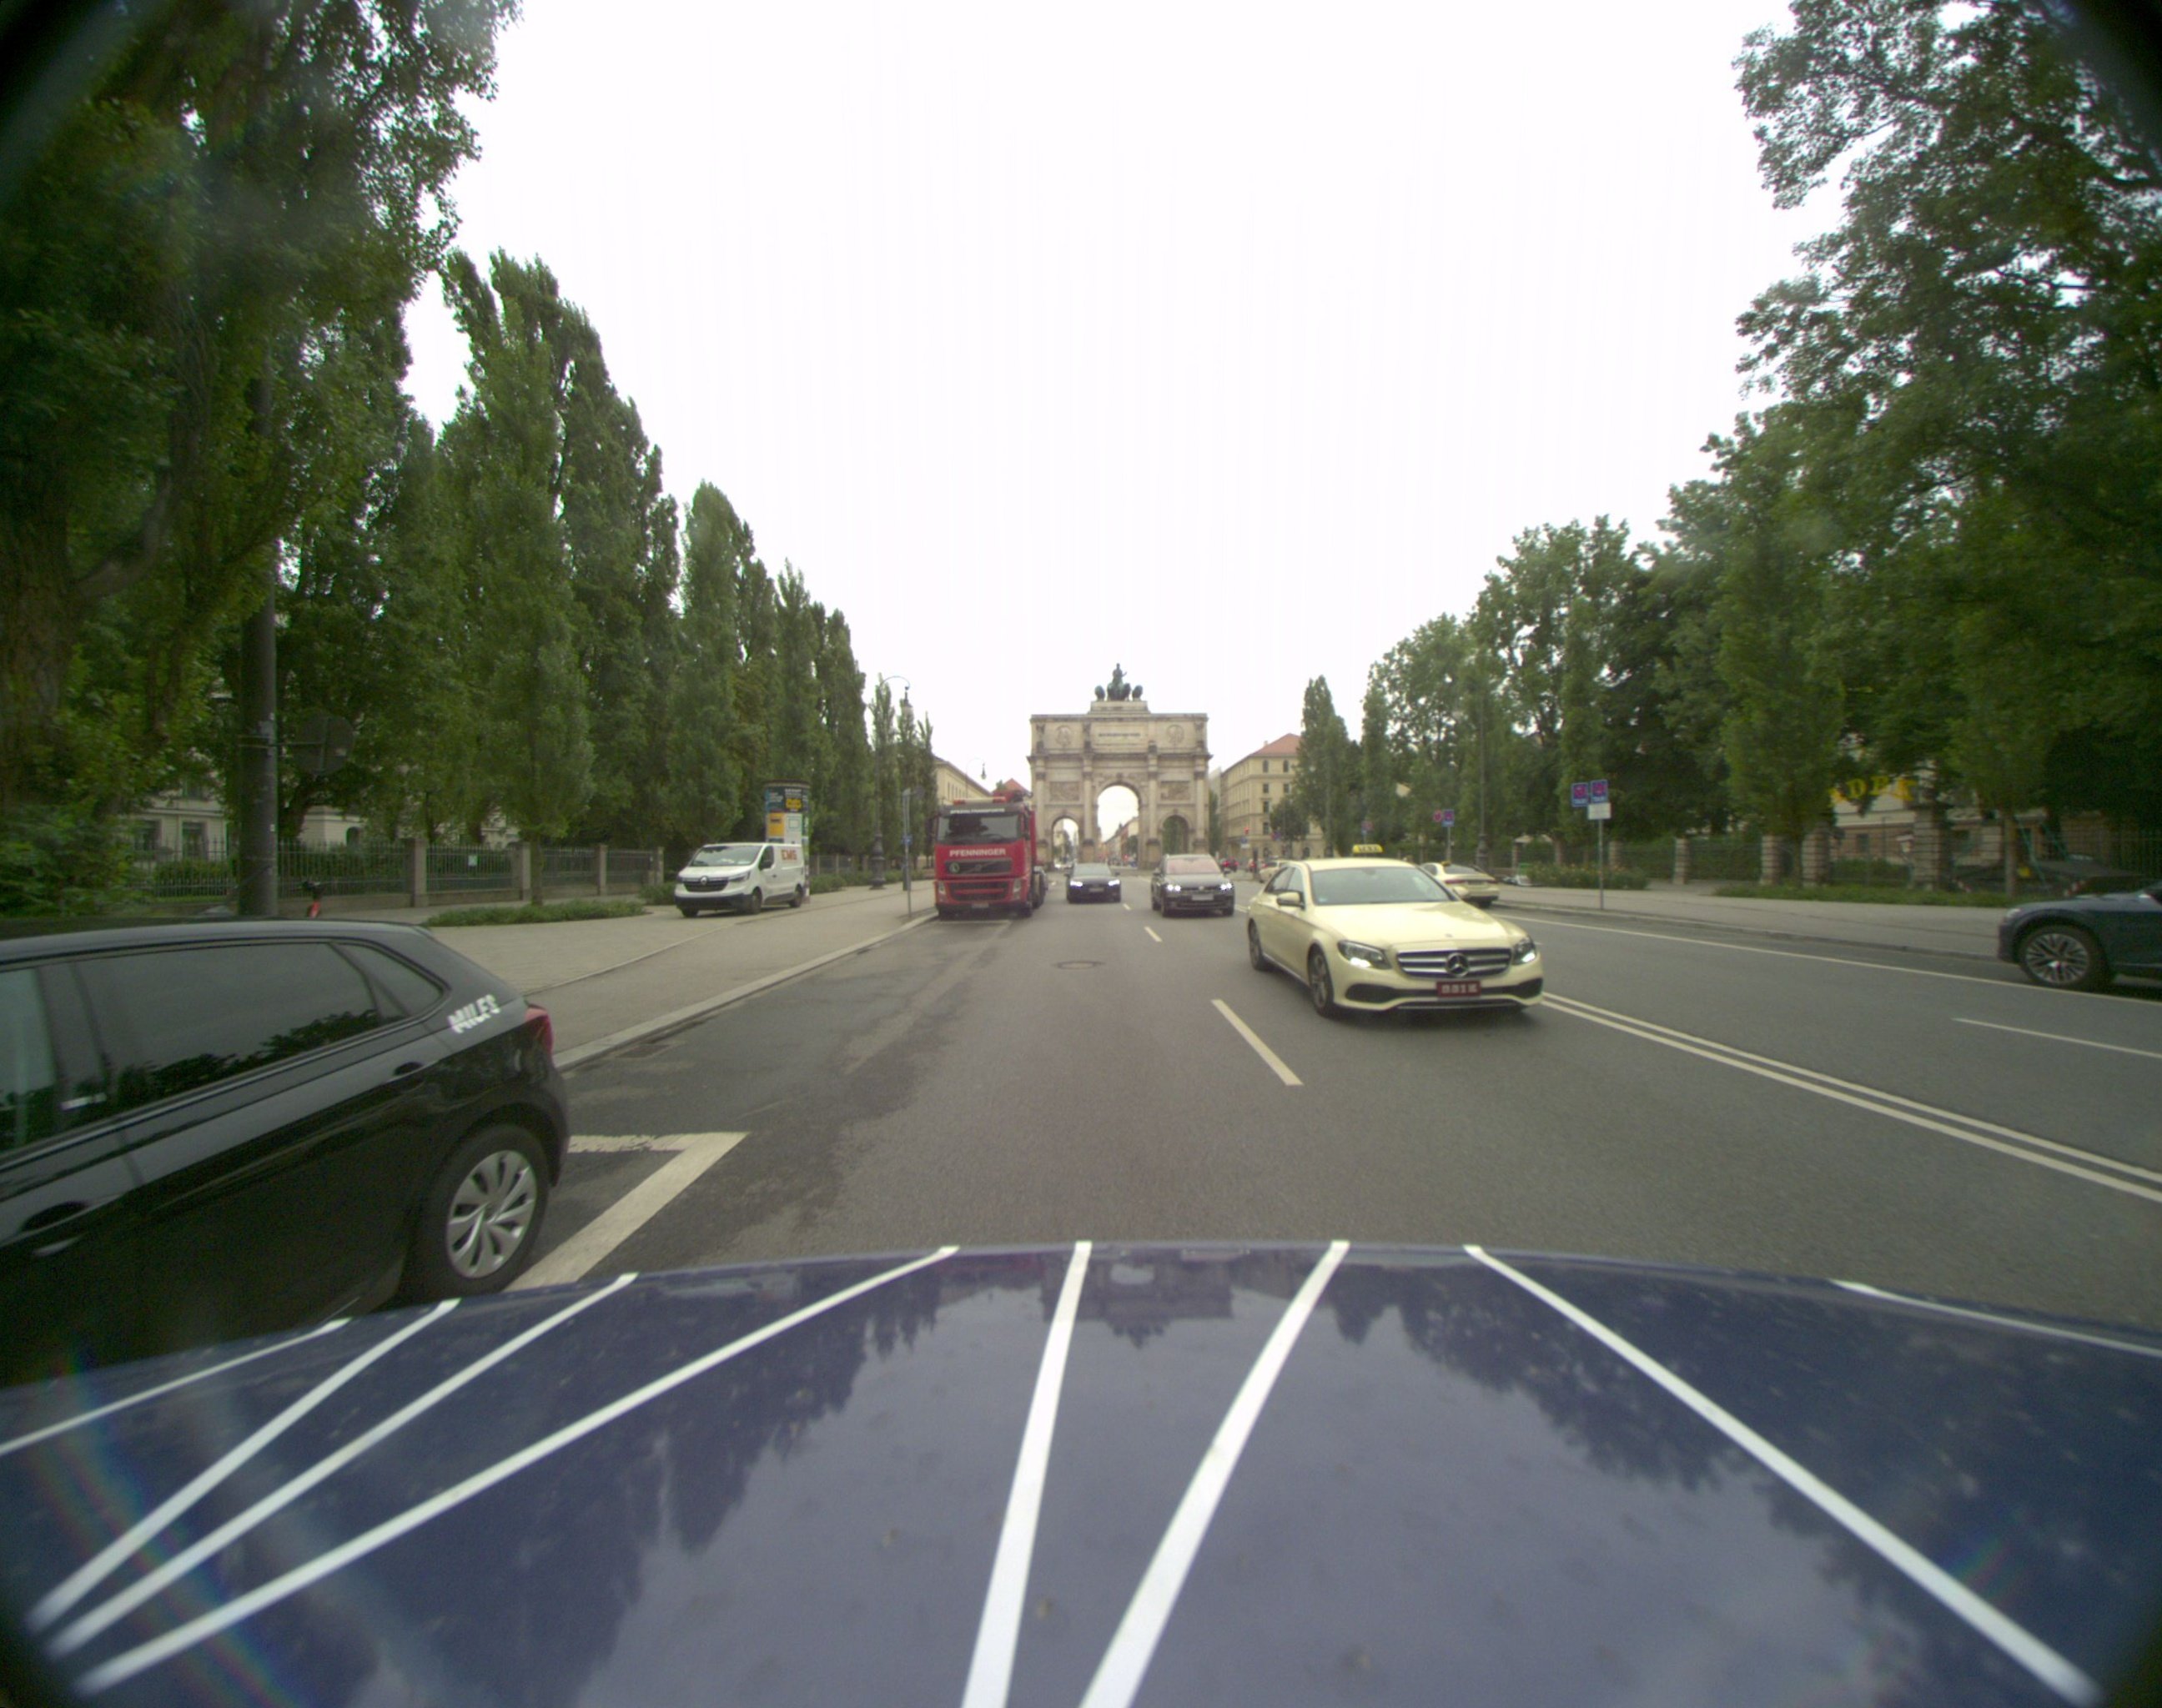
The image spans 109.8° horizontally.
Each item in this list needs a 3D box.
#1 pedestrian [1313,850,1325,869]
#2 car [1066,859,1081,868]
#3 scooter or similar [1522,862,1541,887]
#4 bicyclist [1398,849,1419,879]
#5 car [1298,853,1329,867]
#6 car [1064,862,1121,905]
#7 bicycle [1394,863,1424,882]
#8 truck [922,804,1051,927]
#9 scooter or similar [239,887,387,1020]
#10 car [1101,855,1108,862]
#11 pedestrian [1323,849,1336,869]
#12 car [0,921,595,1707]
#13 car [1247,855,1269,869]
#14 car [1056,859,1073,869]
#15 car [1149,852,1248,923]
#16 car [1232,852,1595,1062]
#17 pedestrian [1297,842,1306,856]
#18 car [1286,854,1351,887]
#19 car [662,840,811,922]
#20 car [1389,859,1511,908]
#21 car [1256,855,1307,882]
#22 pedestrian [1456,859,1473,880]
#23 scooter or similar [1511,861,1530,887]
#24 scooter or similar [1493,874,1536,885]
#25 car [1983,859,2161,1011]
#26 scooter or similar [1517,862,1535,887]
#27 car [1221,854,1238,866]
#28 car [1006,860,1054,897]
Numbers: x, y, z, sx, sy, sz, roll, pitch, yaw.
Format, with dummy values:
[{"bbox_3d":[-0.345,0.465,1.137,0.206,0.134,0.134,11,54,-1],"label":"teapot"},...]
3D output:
[{"bbox_3d":[21.035,0.456,67.204,0.846,1.668,0.967,-1,0,6],"label":"pedestrian"},{"bbox_3d":[-1.397,1.785,145.152,1.785,1.739,4.326,-1,0,16],"label":"car"},{"bbox_3d":[21.961,0.985,37.054,0.243,1.194,1.122,-1,0,0],"label":"scooter or similar"},{"bbox_3d":[16.810,0.513,39.023,0.695,1.489,0.861,0,0,-1],"label":"bicyclist"},{"bbox_3d":[35.443,0.907,115.872,3.997,2.002,2.000,-1,0,0],"label":"car"},{"bbox_3d":[0.347,1.043,28.461,1.922,1.320,4.411,-3,0,-1],"label":"car"},{"bbox_3d":[16.816,0.939,38.985,0.709,0.933,1.735,-1,0,-1],"label":"bicycle"},{"bbox_3d":[-2.621,0.307,24.568,2.720,3.091,10.426,-1,0,1],"label":"truck"},{"bbox_3d":[-8.111,1.008,8.082,0.337,1.258,1.186,-1,0,1],"label":"scooter or similar"},{"bbox_3d":[7.189,1.458,231.771,1.998,2.002,4.395,-1,0,0],"label":"car"},{"bbox_3d":[21.862,0.436,66.845,0.846,1.668,0.967,-1,0,6],"label":"pedestrian"},{"bbox_3d":[-2.955,1.039,1.179,1.759,1.441,4.000,-3,0,0],"label":"car"},{"bbox_3d":[24.443,1.063,105.293,2.004,1.844,4.990,1,1,2],"label":"car"},{"bbox_3d":[-3.056,1.810,139.767,1.785,1.739,4.326,-1,0,16],"label":"car"},{"bbox_3d":[3.040,0.813,20.608,1.953,1.615,4.411,-3,0,0],"label":"car"},{"bbox_3d":[3.076,0.802,8.311,1.919,1.566,4.689,-3,0,1],"label":"car"},{"bbox_3d":[30.244,-0.674,104.156,0.796,2.002,0.754,-1,0,-35],"label":"pedestrian"},{"bbox_3d":[12.591,0.828,40.623,1.942,1.615,4.964,0,1,0],"label":"car"},{"bbox_3d":[-9.276,0.668,20.975,1.885,1.933,4.884,-2,0,-1],"label":"car"},{"bbox_3d":[12.419,0.948,25.967,1.935,1.488,4.791,0,-1,1],"label":"car"},{"bbox_3d":[12.415,0.863,47.354,1.823,1.550,4.858,1,0,0],"label":"car"},{"bbox_3d":[25.015,1.021,49.592,0.578,1.329,0.838,-1,0,-26],"label":"pedestrian"},{"bbox_3d":[21.425,0.945,37.063,0.258,1.234,1.141,-1,0,1],"label":"scooter or similar"},{"bbox_3d":[23.387,1.382,40.963,2.241,0.515,1.329,0,-1,-40],"label":"scooter or similar"},{"bbox_3d":[12.166,0.857,7.174,1.786,1.586,4.613,1,0,0],"label":"car"},{"bbox_3d":[21.697,0.991,37.059,0.243,1.194,1.122,-1,0,0],"label":"scooter or similar"},{"bbox_3d":[20.478,0.850,104.826,1.785,1.662,4.002,-1,0,5],"label":"car"},{"bbox_3d":[-2.207,1.038,33.717,1.792,1.451,4.217,-1,0,0],"label":"car"}]
